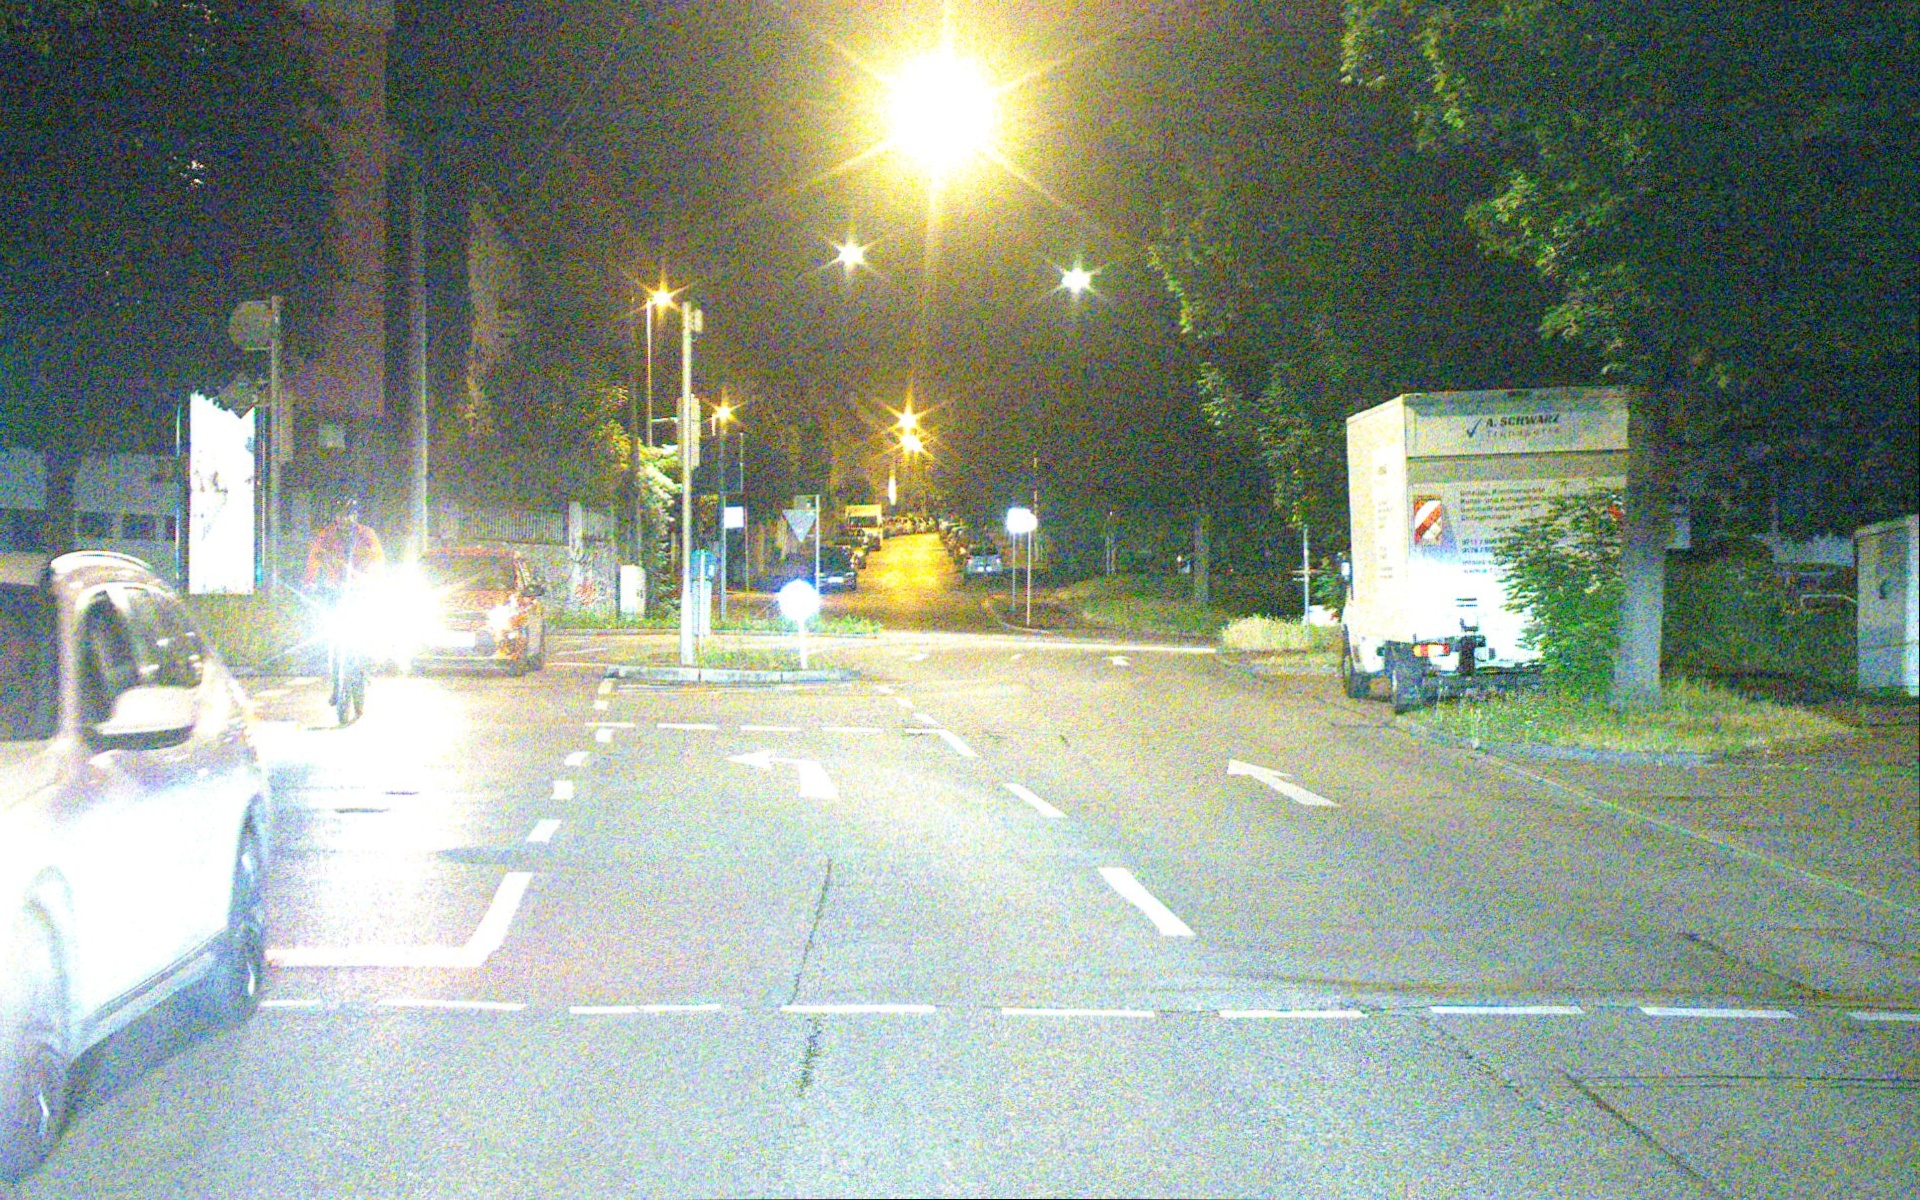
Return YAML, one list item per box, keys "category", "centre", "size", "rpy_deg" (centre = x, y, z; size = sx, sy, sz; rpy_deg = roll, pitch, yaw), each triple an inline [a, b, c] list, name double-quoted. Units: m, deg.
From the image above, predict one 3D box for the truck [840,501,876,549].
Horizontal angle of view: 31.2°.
- category: "truck"
  centre: [-6.226, -4.545, 209.574]
  size: [2.086, 2.838, 5.832]
  rpy_deg: [1, 1, -2]

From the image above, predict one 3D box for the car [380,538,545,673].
- category: "car"
  centre: [-5.761, 0.033, 40.109]
  size: [1.581, 1.496, 3.396]
  rpy_deg: [1, 1, -3]

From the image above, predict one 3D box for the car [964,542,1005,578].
- category: "car"
  centre: [1.022, -1.678, 143.356]
  size: [1.634, 1.447, 3.485]
  rpy_deg: [1, 1, -1]

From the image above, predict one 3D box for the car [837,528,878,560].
- category: "car"
  centre: [-4.798, -2.616, 160.562]
  size: [1.815, 1.486, 4.000]
  rpy_deg: [1, 1, -2]

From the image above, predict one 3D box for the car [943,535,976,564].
- category: "car"
  centre: [-0.026, -2.624, 178.511]
  size: [1.634, 1.447, 3.485]
  rpy_deg: [1, 1, -1]

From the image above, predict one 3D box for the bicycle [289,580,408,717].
- category: "bicycle"
  centre: [-5.283, 0.401, 29.781]
  size: [0.696, 1.145, 1.951]
  rpy_deg: [1, 0, -1]

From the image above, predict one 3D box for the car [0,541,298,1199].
- category: "car"
  centre: [-3.063, 0.602, 9.413]
  size: [1.857, 1.529, 4.028]
  rpy_deg: [1, 1, -2]

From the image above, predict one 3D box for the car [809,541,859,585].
- category: "car"
  centre: [-4.903, -1.461, 134.441]
  size: [1.815, 1.678, 4.000]
  rpy_deg: [1, 1, -1]

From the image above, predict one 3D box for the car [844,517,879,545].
- category: "car"
  centre: [-5.379, -3.738, 186.944]
  size: [1.815, 1.486, 4.000]
  rpy_deg: [1, 1, -2]

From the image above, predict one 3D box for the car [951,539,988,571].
- category: "car"
  centre: [0.445, -2.087, 159.273]
  size: [1.634, 1.447, 3.485]
  rpy_deg: [1, 1, -1]

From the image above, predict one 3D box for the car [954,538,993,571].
- category: "car"
  centre: [0.582, -2.036, 153.088]
  size: [1.634, 1.447, 3.485]
  rpy_deg: [1, 1, -1]

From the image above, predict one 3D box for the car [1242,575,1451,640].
- category: "car"
  centre: [8.810, 0.165, 78.625]
  size: [4.567, 1.384, 1.923]
  rpy_deg: [1, 1, 0]

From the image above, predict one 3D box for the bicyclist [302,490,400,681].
- category: "bicyclist"
  centre: [-5.280, -0.129, 29.858]
  size: [0.690, 1.631, 0.896]
  rpy_deg: [1, 0, -1]

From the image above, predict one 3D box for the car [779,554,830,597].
- category: "car"
  centre: [-5.331, -0.850, 118.221]
  size: [1.634, 1.447, 3.485]
  rpy_deg: [1, 1, -1]

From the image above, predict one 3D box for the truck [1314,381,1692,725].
- category: "truck"
  centre: [5.286, -0.475, 34.563]
  size: [2.749, 3.100, 6.258]
  rpy_deg: [1, 1, 0]

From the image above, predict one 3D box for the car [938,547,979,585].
- category: "car"
  centre: [-0.055, -1.380, 138.088]
  size: [1.593, 1.471, 3.654]
  rpy_deg: [1, 1, -1]

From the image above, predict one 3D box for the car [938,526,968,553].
- category: "car"
  centre: [-0.380, -3.369, 191.475]
  size: [1.634, 1.447, 3.485]
  rpy_deg: [1, 1, -1]
